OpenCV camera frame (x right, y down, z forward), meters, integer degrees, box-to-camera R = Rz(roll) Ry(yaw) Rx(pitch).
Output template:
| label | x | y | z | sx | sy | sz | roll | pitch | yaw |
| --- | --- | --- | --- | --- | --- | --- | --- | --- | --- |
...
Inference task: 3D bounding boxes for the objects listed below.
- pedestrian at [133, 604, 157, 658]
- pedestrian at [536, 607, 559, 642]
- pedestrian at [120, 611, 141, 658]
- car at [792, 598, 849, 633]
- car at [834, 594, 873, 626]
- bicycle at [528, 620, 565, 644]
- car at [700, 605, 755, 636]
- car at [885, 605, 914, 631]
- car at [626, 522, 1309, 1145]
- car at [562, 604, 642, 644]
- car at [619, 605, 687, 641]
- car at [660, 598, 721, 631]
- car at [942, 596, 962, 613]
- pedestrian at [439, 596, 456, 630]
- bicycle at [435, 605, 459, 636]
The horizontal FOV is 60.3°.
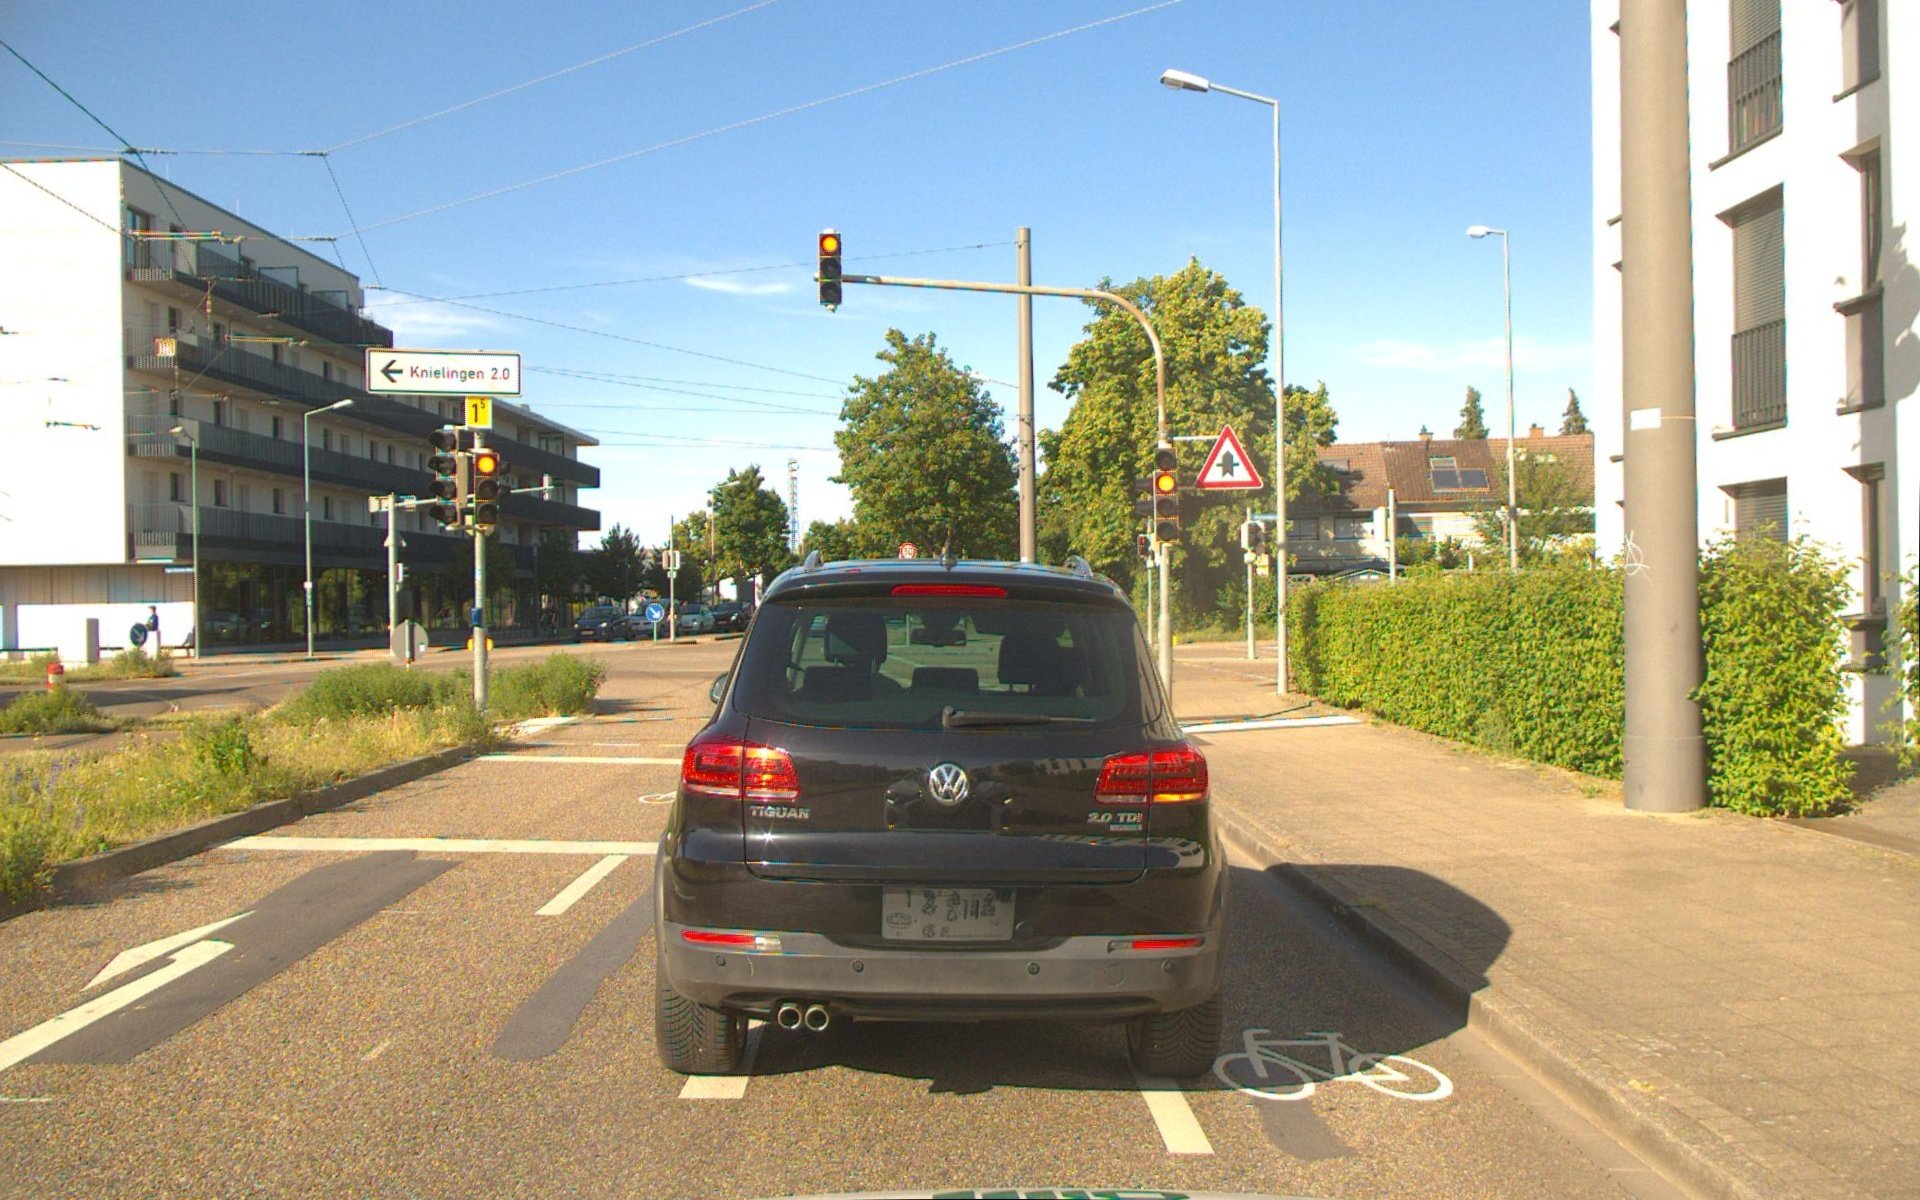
| label | x | y | z | sx | sy | sz | roll | pitch | yaw |
| --- | --- | --- | --- | --- | --- | --- | --- | --- | --- |
| pedestrian | -27.235 | 1.033 | 55.265 | 0.532 | 1.774 | 0.517 | 1 | -1 | -6 |
| pedestrian | -18.253 | 1.079 | 73.180 | 0.696 | 1.499 | 0.954 | 1 | 0 | 6 |
| pedestrian | -27.425 | 1.149 | 54.701 | 0.433 | 1.529 | 0.517 | 1 | -1 | -6 |
| car | -6.326 | 0.701 | 75.427 | 1.824 | 1.511 | 4.113 | -1 | 0 | 7 |
| car | -5.973 | 0.563 | 93.131 | 1.825 | 1.750 | 3.687 | -1 | 0 | 2 |
| bicycle | -18.266 | 1.389 | 73.101 | 0.755 | 1.006 | 2.434 | 1 | 0 | 6 |
| car | -12.770 | 1.112 | 91.208 | 1.951 | 1.601 | 4.342 | 1 | 0 | 7 |
| car | -4.499 | 1.335 | 123.206 | 1.952 | 1.869 | 4.000 | 1 | 0 | 1 |
| car | -0.003 | 0.646 | 6.493 | 1.831 | 1.666 | 3.999 | 1 | 0 | -1 |
| car | -15.365 | 1.019 | 71.216 | 1.951 | 1.601 | 4.343 | 1 | 0 | 9 |
| car | -14.526 | 1.079 | 78.567 | 1.951 | 1.601 | 4.342 | 1 | 0 | 7 |
| car | -13.816 | 0.730 | 84.895 | 1.951 | 1.601 | 4.342 | 1 | 0 | 7 |
| car | -0.845 | 0.466 | 173.416 | 1.952 | 1.713 | 4.000 | 1 | 0 | 0 |
| pedestrian | -23.436 | 0.572 | 75.609 | 0.630 | 1.535 | 0.595 | 1 | -1 | -6 |
| bicycle | -23.449 | 0.934 | 75.576 | 0.618 | 1.355 | 1.911 | 1 | 0 | -5 |
